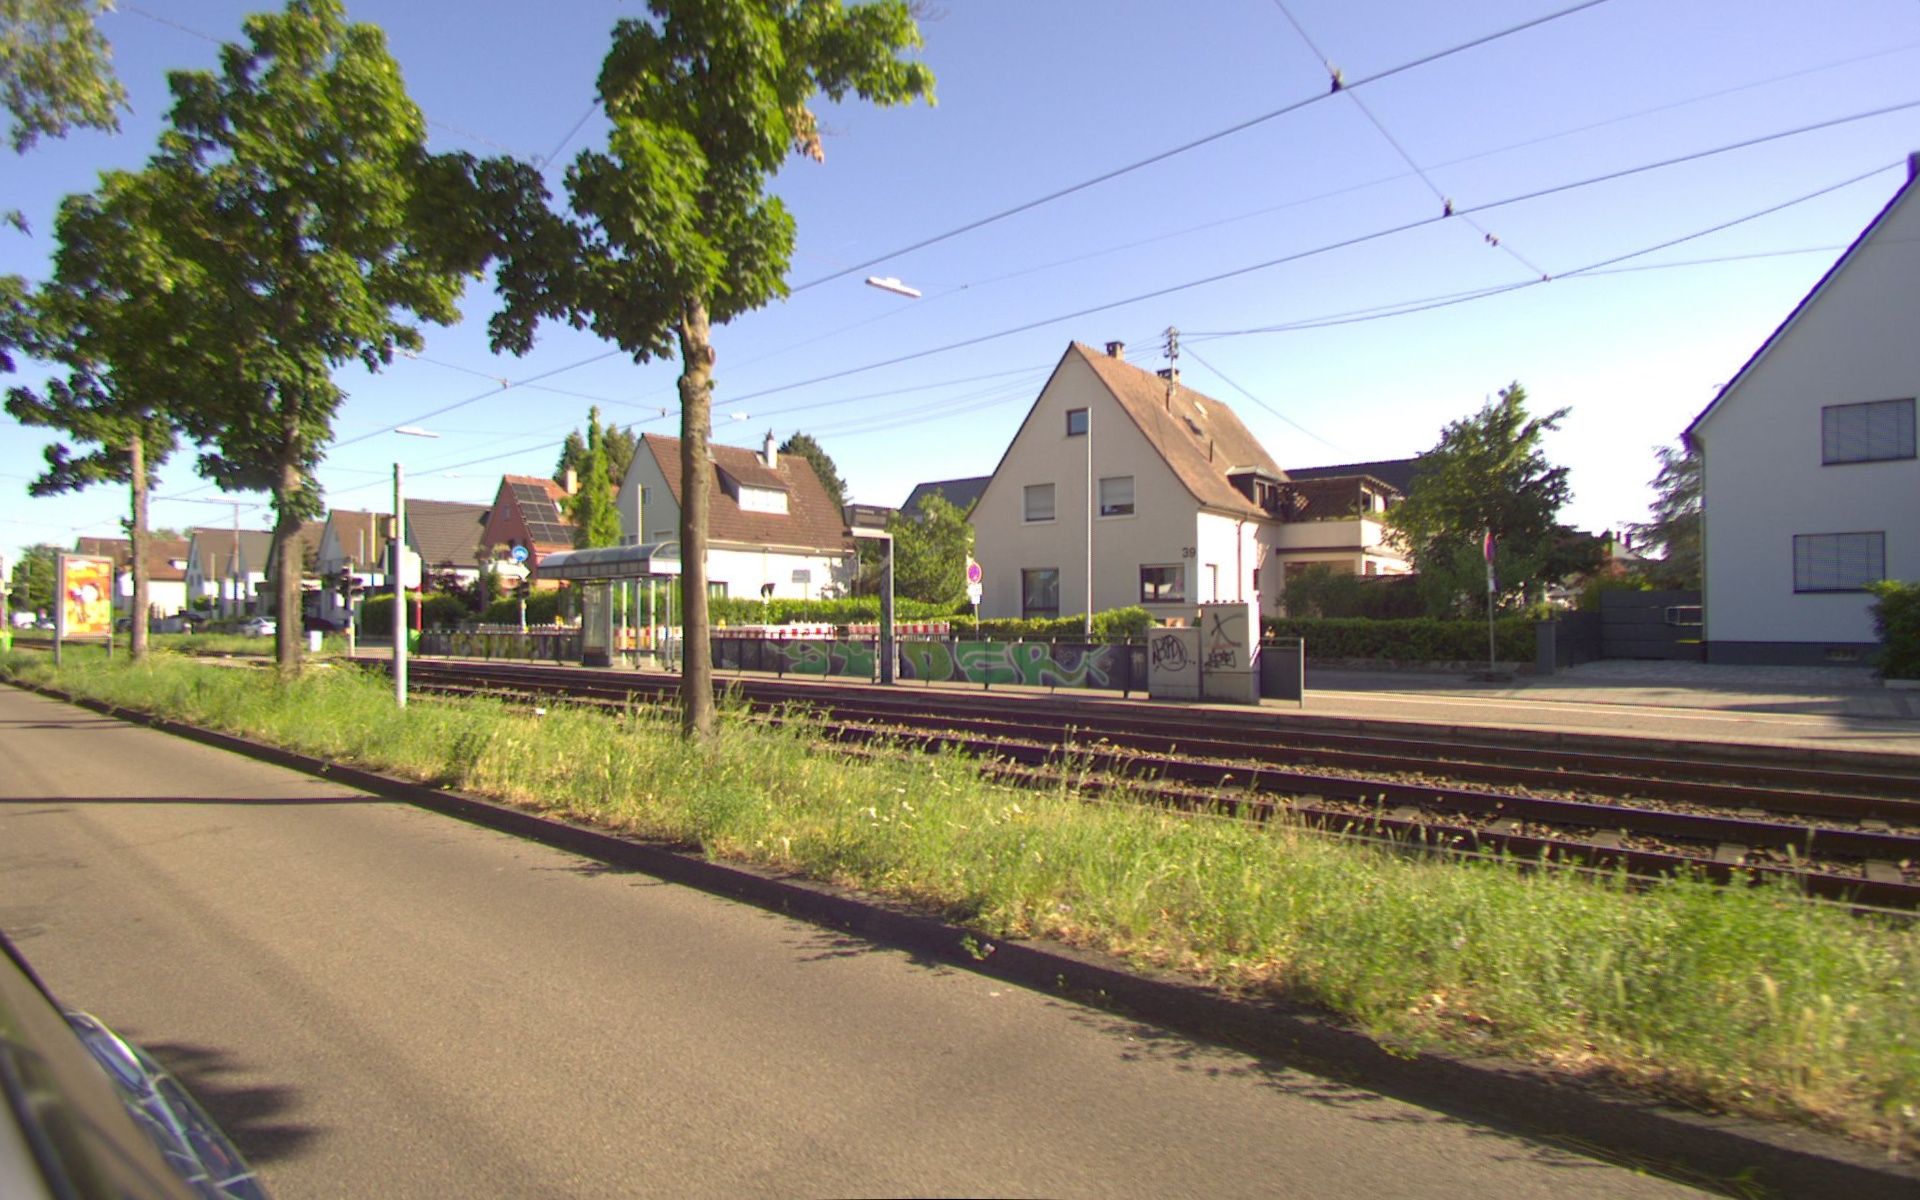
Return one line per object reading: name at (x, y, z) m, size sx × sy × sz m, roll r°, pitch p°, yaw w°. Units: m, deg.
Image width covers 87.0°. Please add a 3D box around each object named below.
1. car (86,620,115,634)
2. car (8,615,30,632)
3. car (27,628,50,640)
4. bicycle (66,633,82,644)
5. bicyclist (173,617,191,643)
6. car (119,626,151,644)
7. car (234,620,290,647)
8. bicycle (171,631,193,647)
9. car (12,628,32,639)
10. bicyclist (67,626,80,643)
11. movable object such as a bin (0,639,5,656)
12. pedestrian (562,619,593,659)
car at (-89.371, 2.755, 105.259) m, size 3.821 × 1.392 × 1.733 m, roll -1°, pitch 0°, yaw 41°
car at (-132.205, 3.264, 142.149) m, size 4.001 × 2.239 × 2.104 m, roll -1°, pitch 0°, yaw 44°
car at (-118.214, 4.334, 129.811) m, size 3.998 × 1.517 × 1.768 m, roll -1°, pitch 0°, yaw 41°
bicycle at (-87.006, 3.792, 99.370) m, size 2.308 × 0.958 × 0.843 m, roll -1°, pitch 0°, yaw 41°
bicyclist at (-57.092, 2.199, 74.280) m, size 1.071 × 1.901 × 0.843 m, roll -1°, pitch 0°, yaw 41°
car at (-76.821, 3.245, 94.218) m, size 3.754 × 1.501 × 1.716 m, roll -1°, pitch 0°, yaw 41°
car at (-47.207, 2.230, 68.422) m, size 4.837 × 1.691 × 1.973 m, roll -1°, pitch 0°, yaw 41°
bicycle at (-57.108, 2.845, 74.315) m, size 2.308 × 1.143 × 0.843 m, roll -1°, pitch 0°, yaw 41°
car at (-128.646, 4.589, 138.743) m, size 4.001 × 1.517 × 1.767 m, roll -1°, pitch 0°, yaw 44°
bicyclist at (-87.011, 3.390, 99.355) m, size 0.836 × 1.687 × 0.843 m, roll -1°, pitch 0°, yaw 41°
movable object such as a bin at (-33.855, 1.660, 35.590) m, size 0.381 × 0.587 × 0.380 m, roll -1°, pitch 0°, yaw -41°
pedestrian at (-15.184, 1.531, 40.176) m, size 0.792 × 1.546 × 0.804 m, roll -3°, pitch -3°, yaw 34°
